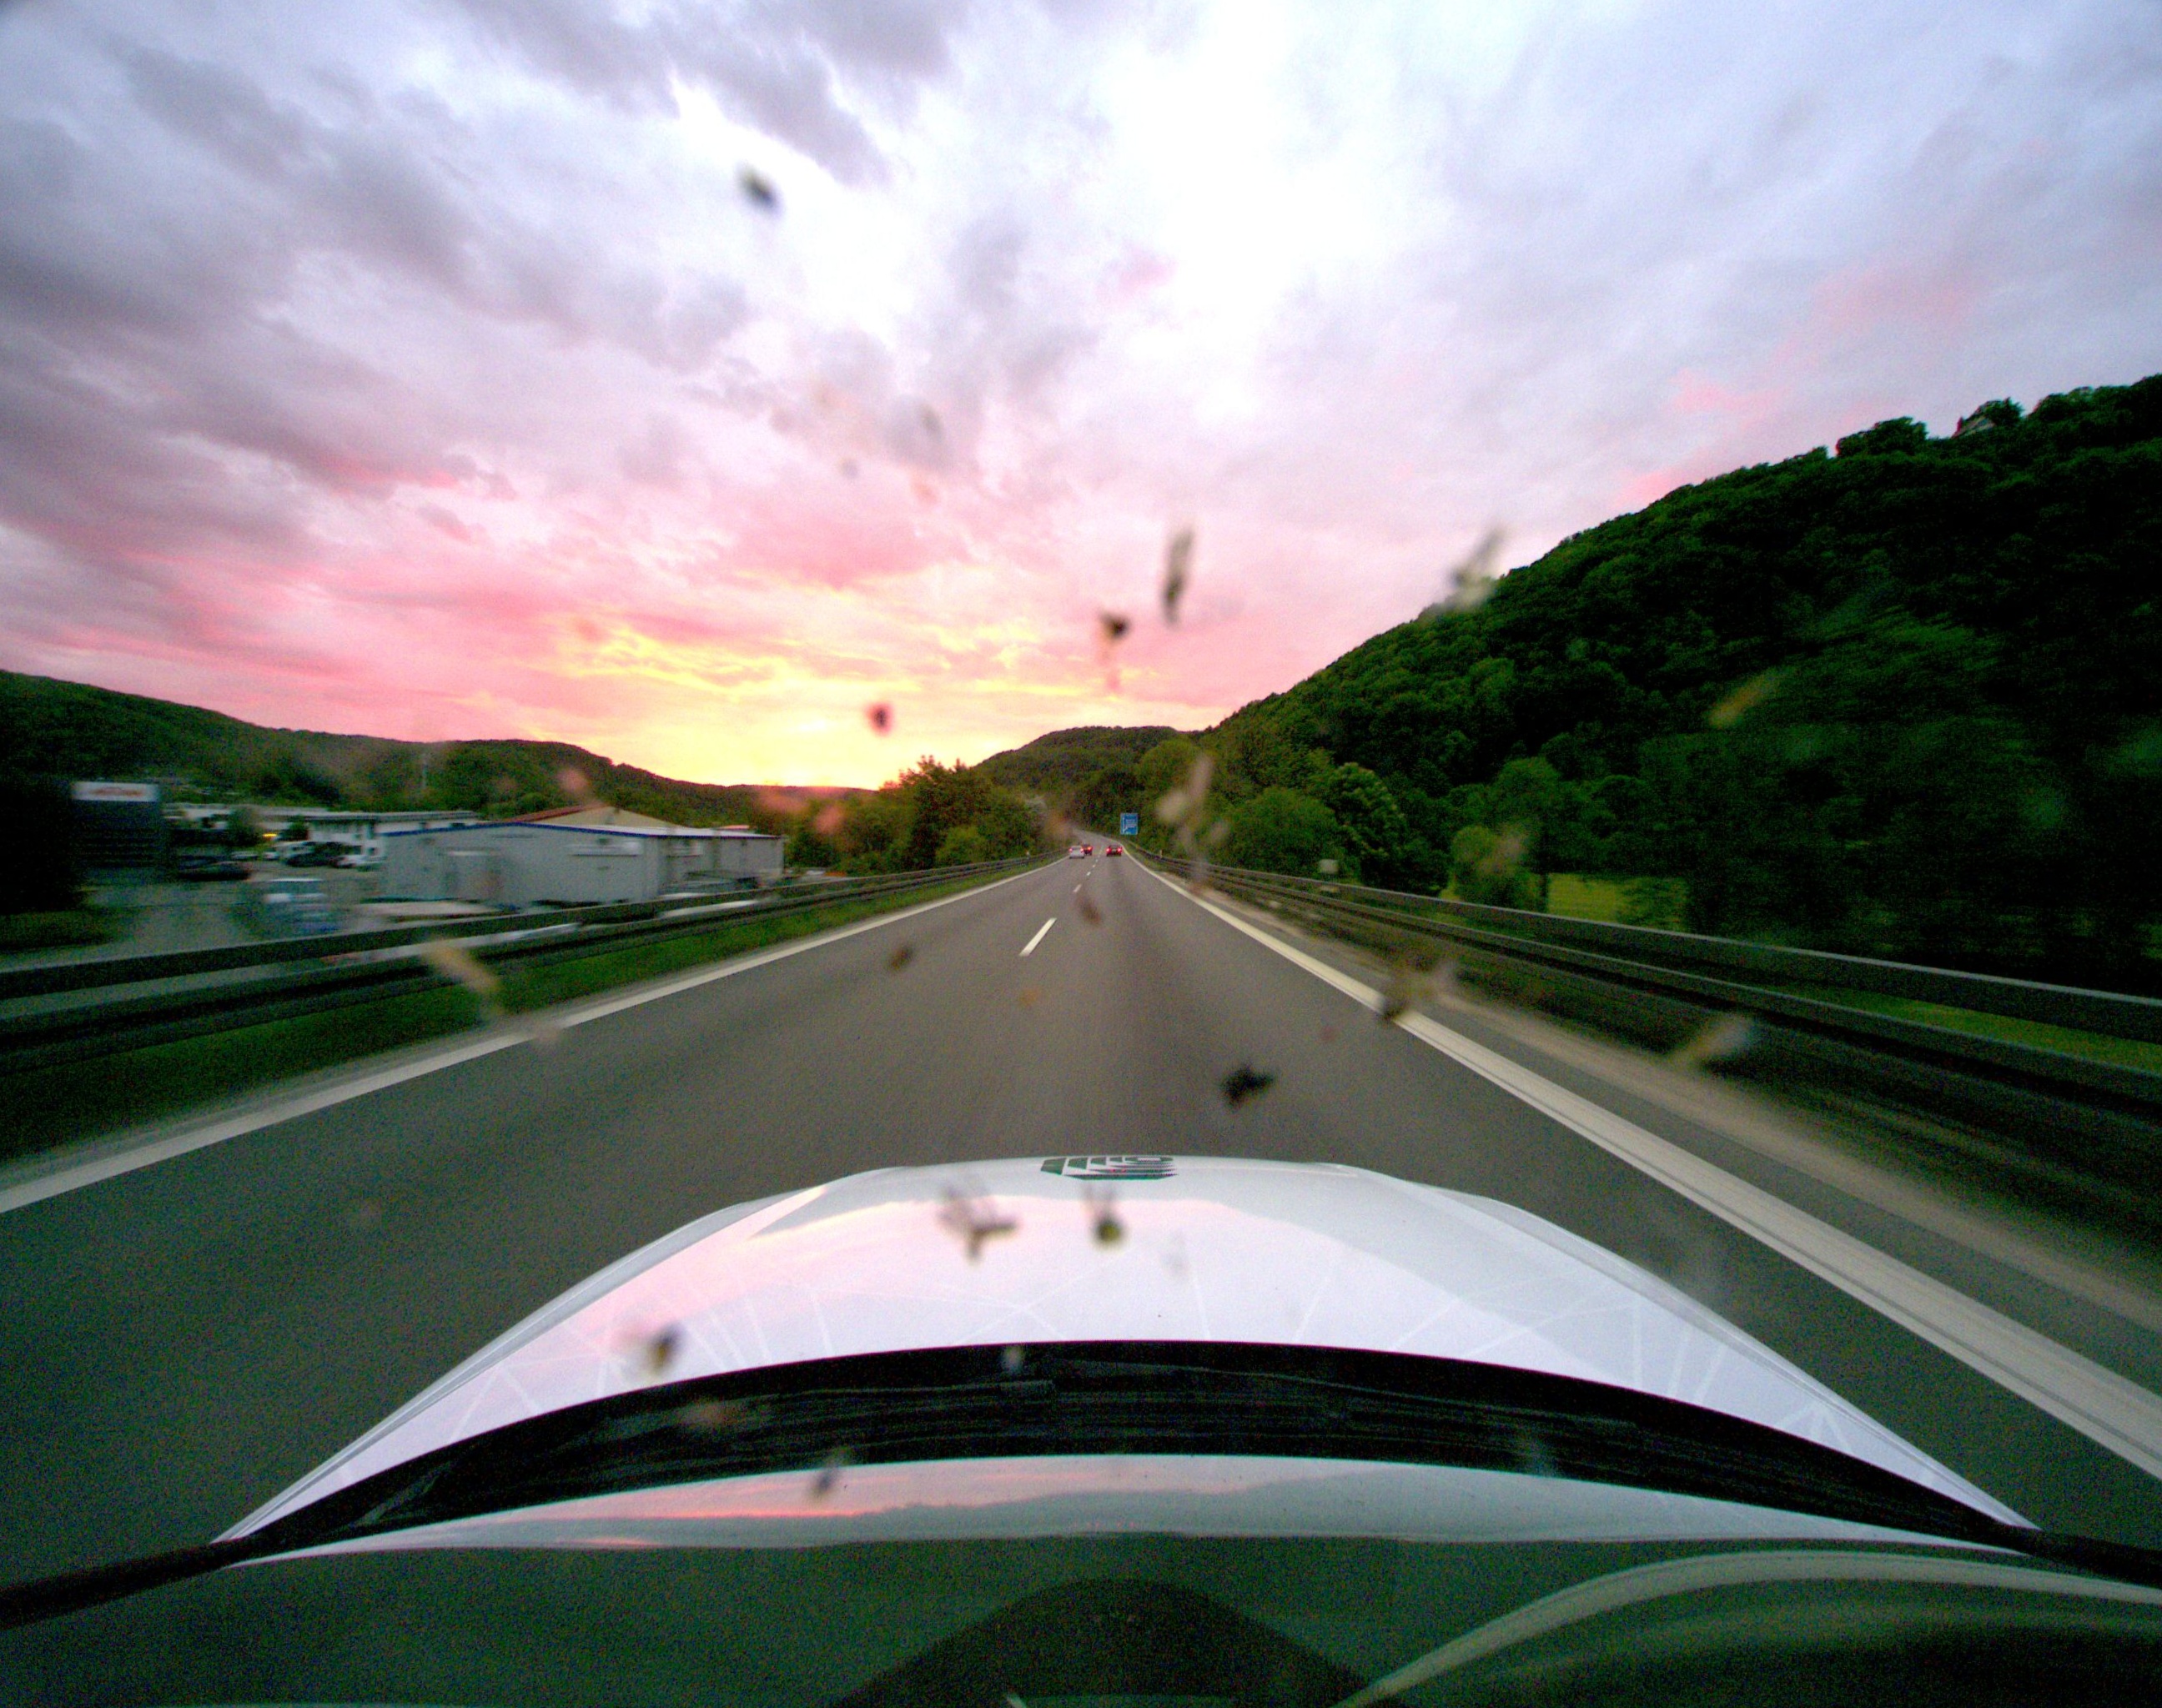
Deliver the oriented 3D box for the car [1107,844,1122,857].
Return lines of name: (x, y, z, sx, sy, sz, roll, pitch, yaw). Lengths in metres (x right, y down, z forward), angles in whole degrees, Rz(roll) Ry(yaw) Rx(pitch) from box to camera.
car: (4.287, -0.481, 105.315, 1.871, 1.466, 4.002, -2, 1, 2)

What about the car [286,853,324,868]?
car: (-105.709, 0.883, 110.966, 4.199, 2.014, 2.010, -1, -1, 20)

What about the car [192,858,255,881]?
car: (-80.369, 1.433, 76.402, 1.975, 2.014, 4.023, -1, -1, 45)

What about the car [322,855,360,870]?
car: (-98.975, 1.138, 108.884, 4.199, 1.834, 2.010, -1, -1, 20)

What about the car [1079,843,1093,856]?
car: (0.733, -0.580, 111.326, 1.712, 1.635, 4.002, -2, 1, 2)

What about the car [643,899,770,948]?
car: (-14.061, 2.576, 30.660, 3.966, 1.693, 1.776, 0, -1, 7)

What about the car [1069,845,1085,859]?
car: (-0.427, -0.286, 97.434, 1.712, 1.501, 4.002, -2, 1, 2)
